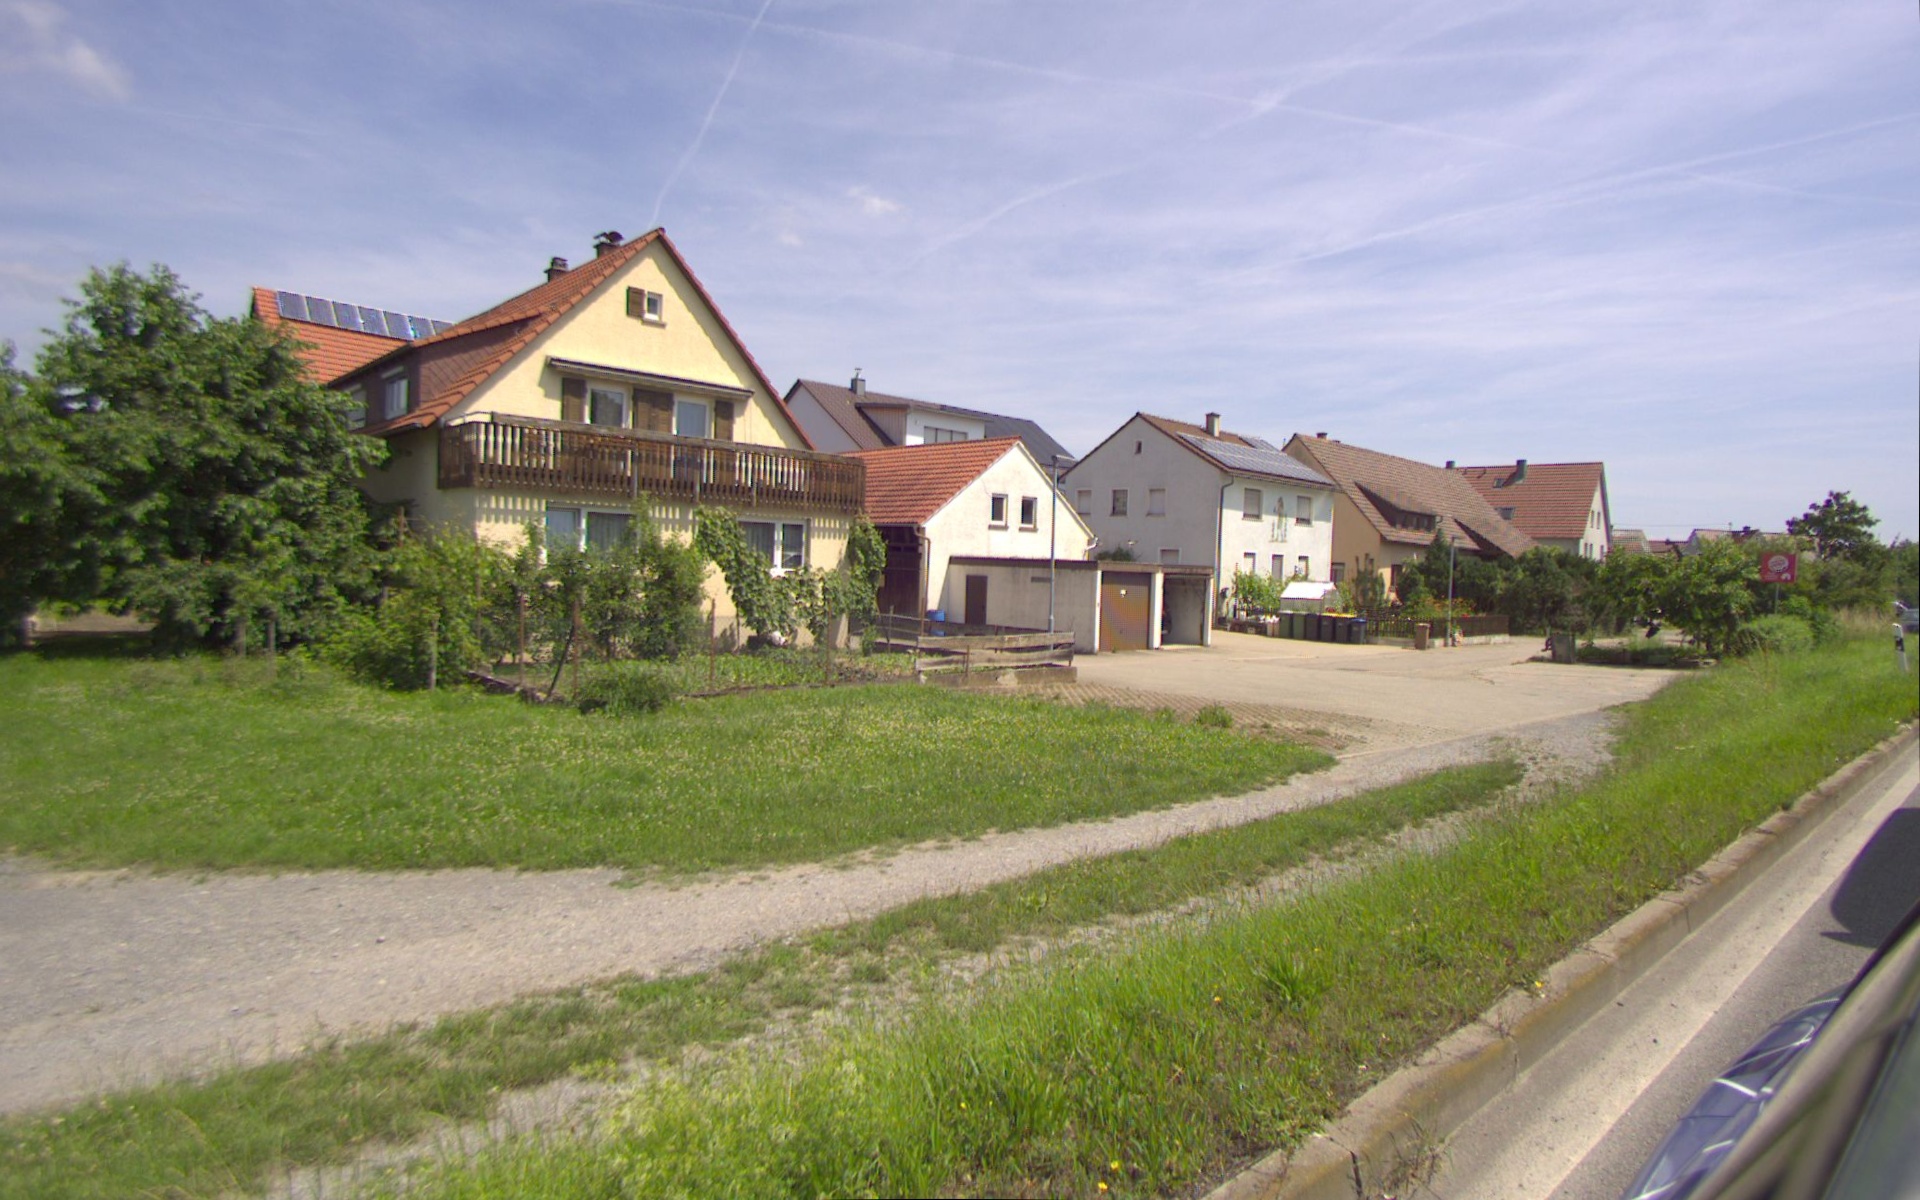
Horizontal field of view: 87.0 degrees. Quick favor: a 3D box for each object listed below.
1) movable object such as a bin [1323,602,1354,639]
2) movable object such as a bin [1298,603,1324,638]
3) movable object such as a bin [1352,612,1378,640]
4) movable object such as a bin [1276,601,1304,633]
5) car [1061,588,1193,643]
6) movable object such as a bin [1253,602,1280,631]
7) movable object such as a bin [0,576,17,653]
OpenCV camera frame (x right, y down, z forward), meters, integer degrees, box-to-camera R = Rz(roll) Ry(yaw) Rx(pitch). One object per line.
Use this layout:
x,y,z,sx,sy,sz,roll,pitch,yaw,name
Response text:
14.593,0.769,38.987,0.930,1.387,0.764,1,0,-43,movable object such as a bin
13.935,0.814,40.199,0.806,1.355,0.677,1,0,-43,movable object such as a bin
15.312,0.973,38.288,0.743,1.040,0.645,1,0,-43,movable object such as a bin
13.319,0.683,40.876,0.874,1.262,0.744,1,0,-43,movable object such as a bin
5.342,0.451,32.757,1.794,1.624,3.995,1,1,-41,car
12.524,0.672,41.410,0.816,1.171,0.739,1,0,-42,movable object such as a bin
-18.237,0.252,18.722,1.045,1.415,1.276,1,0,-39,movable object such as a bin
